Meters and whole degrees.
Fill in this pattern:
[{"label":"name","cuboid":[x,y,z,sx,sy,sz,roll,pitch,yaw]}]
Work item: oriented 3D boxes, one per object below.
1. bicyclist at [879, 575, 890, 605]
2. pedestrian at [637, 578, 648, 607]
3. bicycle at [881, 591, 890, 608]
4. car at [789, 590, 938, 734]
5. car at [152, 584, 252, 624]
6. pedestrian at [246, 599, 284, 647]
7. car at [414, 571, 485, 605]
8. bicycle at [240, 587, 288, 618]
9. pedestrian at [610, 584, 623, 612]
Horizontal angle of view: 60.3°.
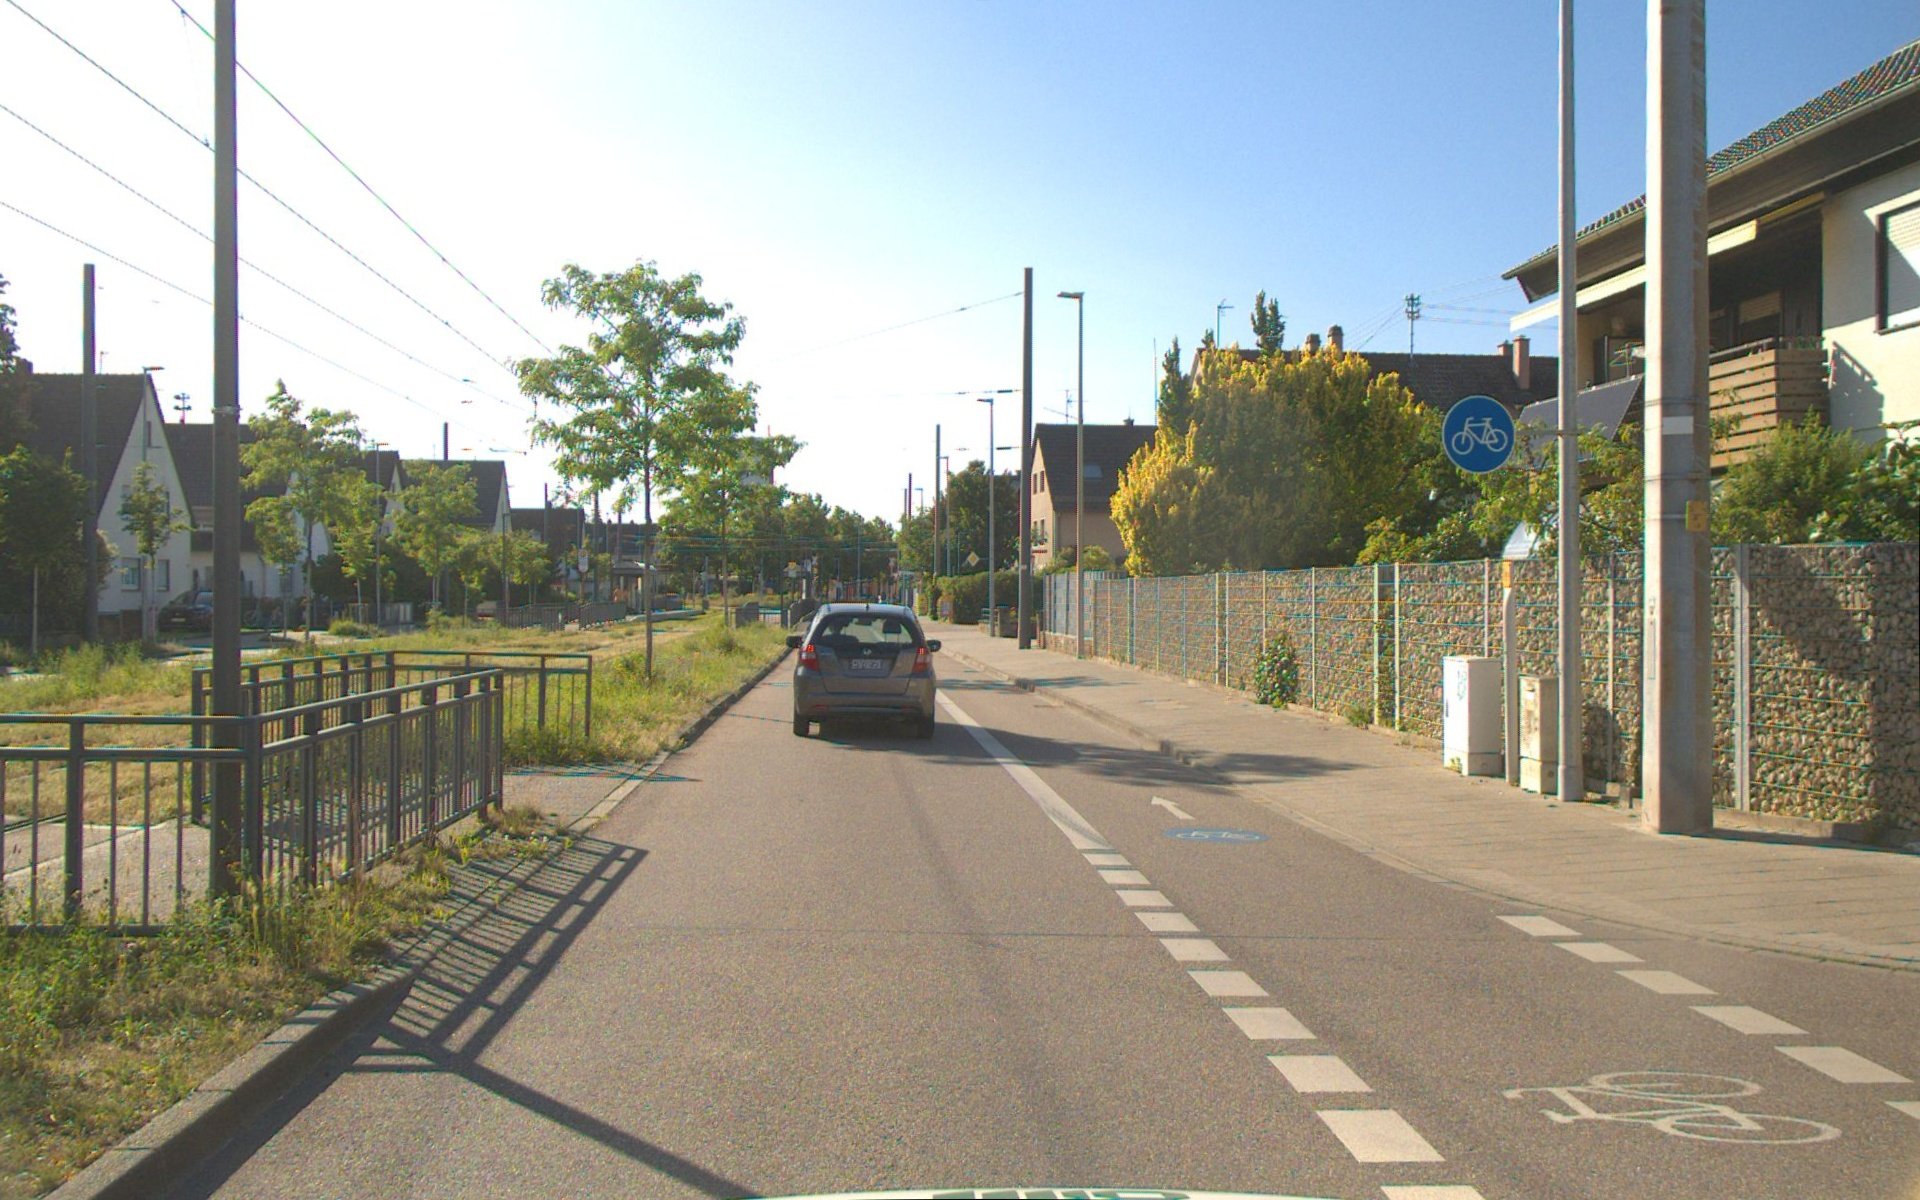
[{"label":"bicyclist","cuboid":[-4.405,-0.590,96.298,0.586,1.731,0.683,1,0,-4]},{"label":"pedestrian","cuboid":[-19.724,-0.476,102.741,0.490,1.726,0.771,-2,1,-4]},{"label":"bicycle","cuboid":[-4.364,-0.055,96.519,0.466,0.978,1.656,1,0,-4]},{"label":"car","cuboid":[-1.110,0.681,20.199,1.636,1.562,3.486,1,1,-1]},{"label":"car","cuboid":[-29.694,0.125,64.973,1.896,1.475,5.158,0,0,-4]},{"label":"pedestrian","cuboid":[-24.693,0.812,58.775,0.946,1.669,1.085,0,0,-4]},{"label":"car","cuboid":[-31.312,-0.737,101.474,3.917,2.004,1.927,1,0,-12]},{"label":"bicycle","cuboid":[-32.172,0.104,76.473,1.953,1.389,0.703,0,0,-11]},{"label":"pedestrian","cuboid":[-19.349,-0.141,93.140,0.662,1.562,0.748,0,1,-9]}]
